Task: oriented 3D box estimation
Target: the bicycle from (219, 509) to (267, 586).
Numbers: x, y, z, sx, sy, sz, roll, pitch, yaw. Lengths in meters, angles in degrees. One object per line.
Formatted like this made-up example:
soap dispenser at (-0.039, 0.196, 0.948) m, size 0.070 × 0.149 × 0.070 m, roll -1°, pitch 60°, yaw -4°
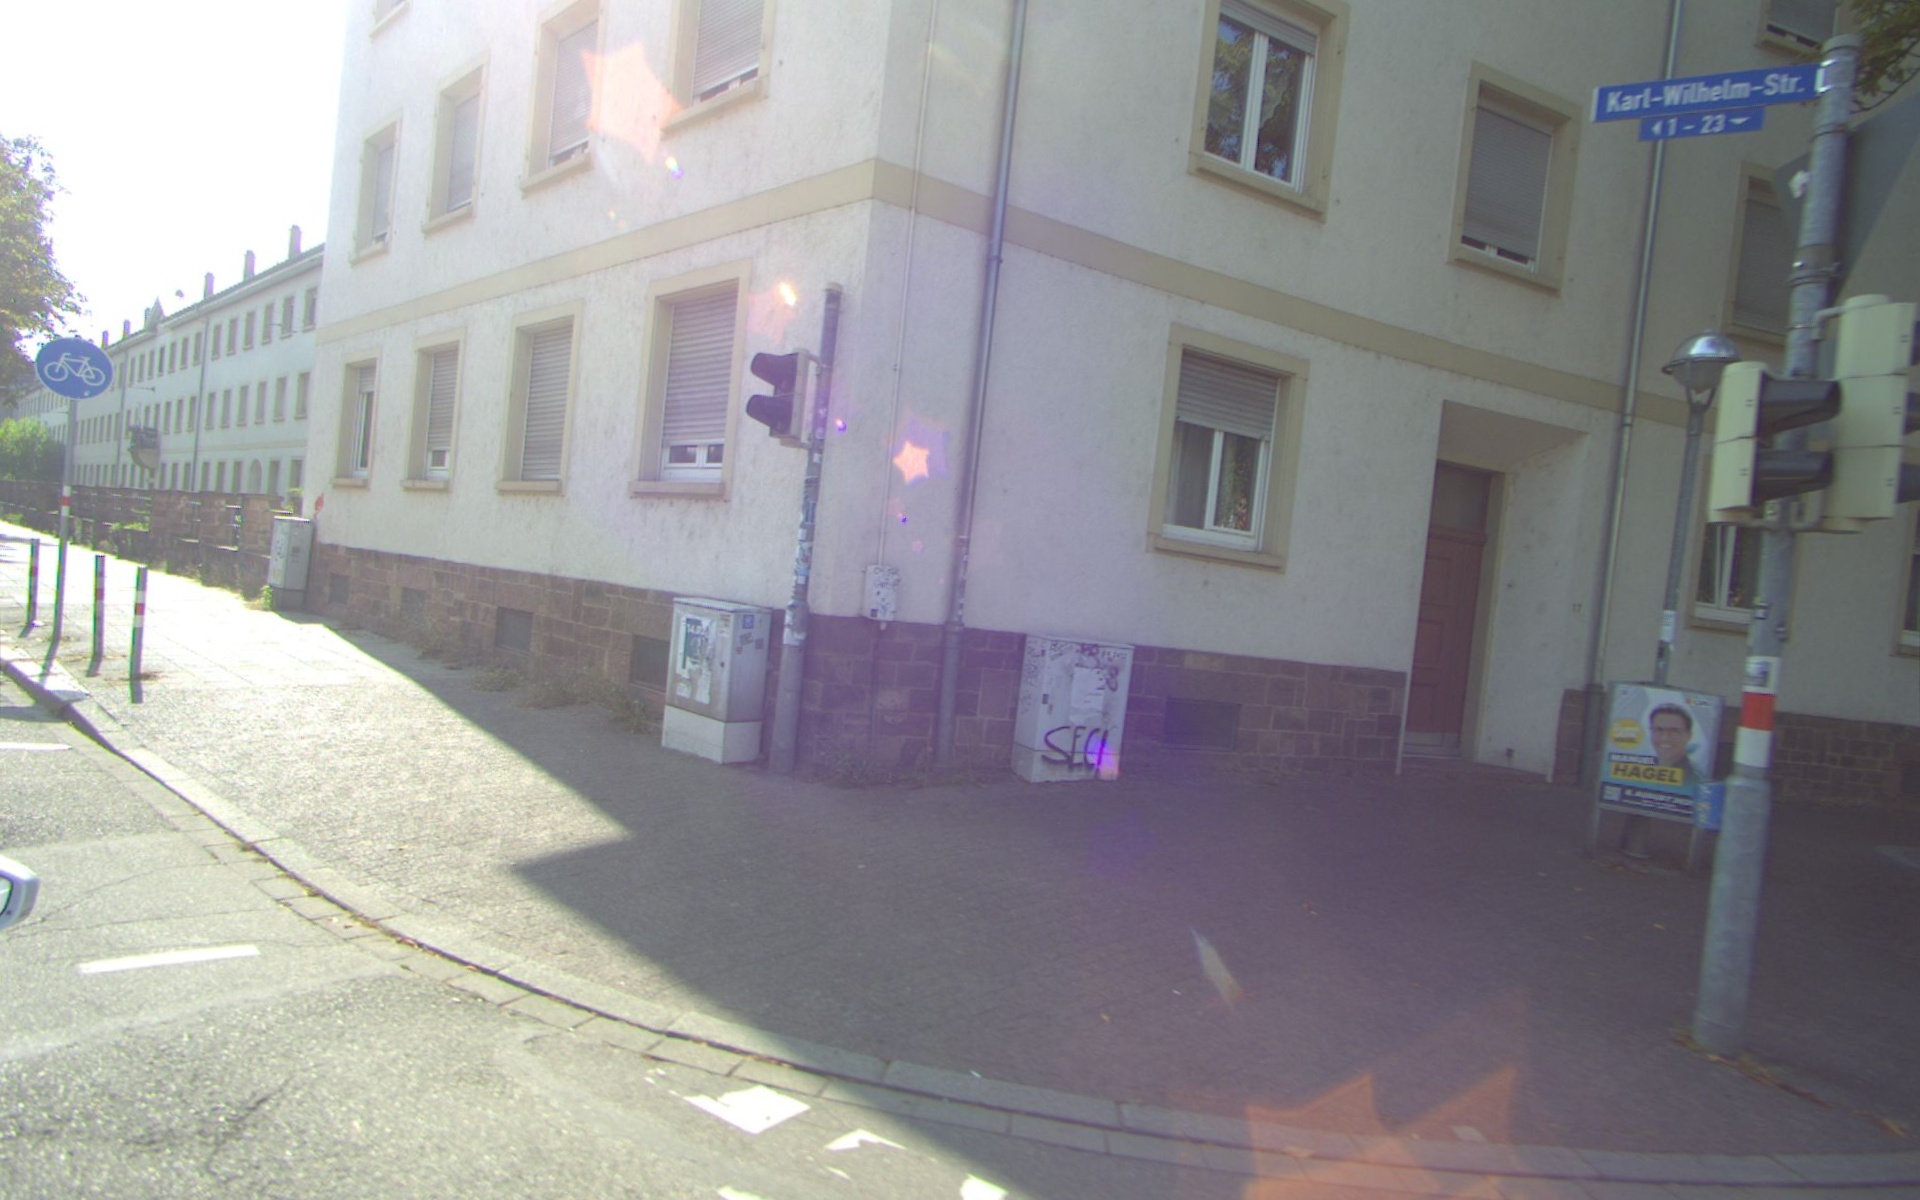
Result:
bicycle at (-14.826, -1.095, 20.791) m, size 0.452 × 1.473 × 1.718 m, roll 6°, pitch 0°, yaw -44°
